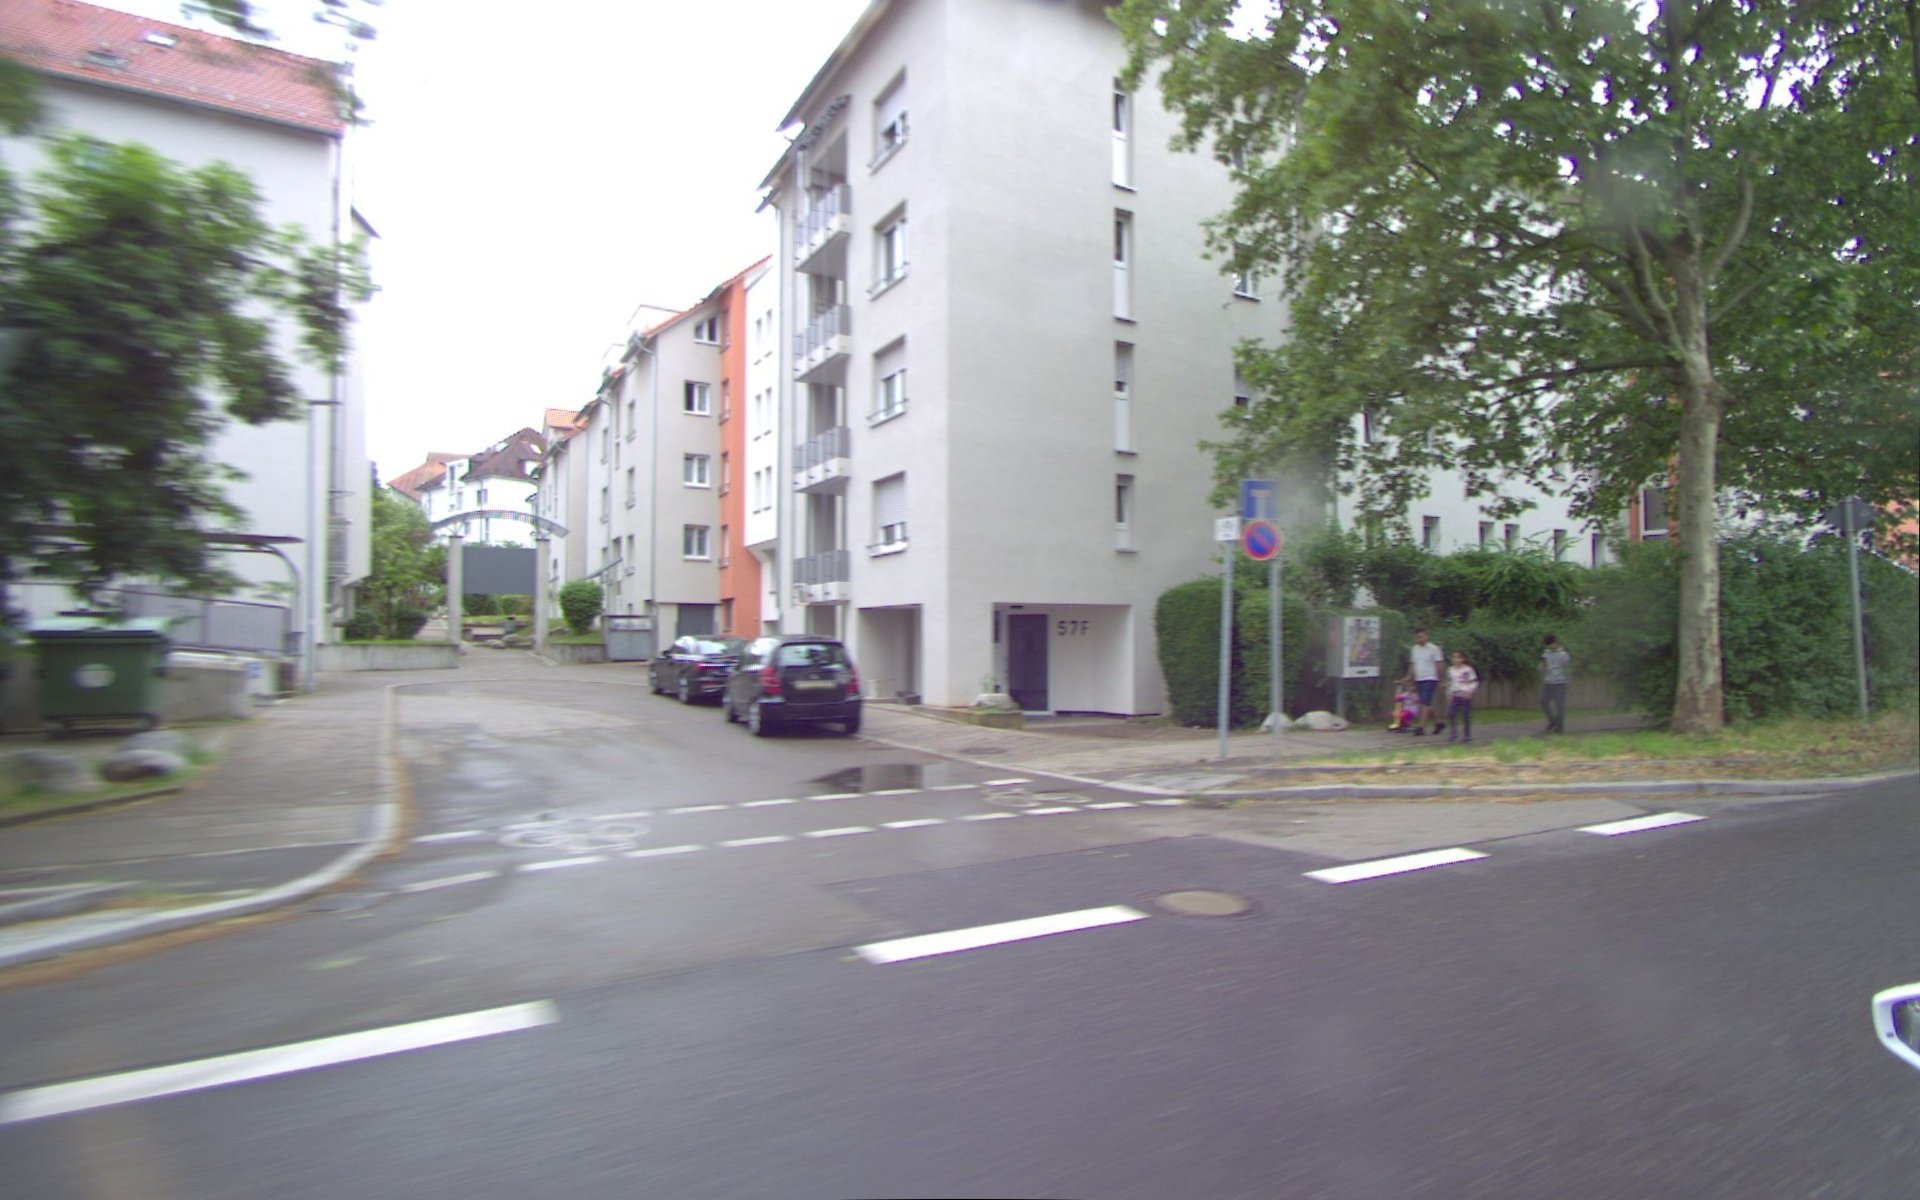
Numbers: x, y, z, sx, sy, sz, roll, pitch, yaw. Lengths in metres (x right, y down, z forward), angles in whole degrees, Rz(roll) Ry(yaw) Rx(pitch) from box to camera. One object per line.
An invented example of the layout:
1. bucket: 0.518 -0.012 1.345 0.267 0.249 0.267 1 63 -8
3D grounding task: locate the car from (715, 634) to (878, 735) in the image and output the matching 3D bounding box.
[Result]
1. car: -2.932 1.351 17.319 1.880 1.496 3.978 1 -2 -23

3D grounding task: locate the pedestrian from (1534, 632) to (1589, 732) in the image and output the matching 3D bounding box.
1. pedestrian: 10.230 1.376 17.087 0.584 1.652 0.592 1 -2 -32

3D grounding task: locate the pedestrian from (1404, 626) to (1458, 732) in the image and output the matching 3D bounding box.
1. pedestrian: 7.540 1.255 16.098 0.584 1.652 0.537 1 -2 -32

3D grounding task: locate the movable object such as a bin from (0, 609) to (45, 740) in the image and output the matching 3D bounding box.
1. movable object such as a bin: -11.839 0.866 11.882 1.286 1.434 1.155 1 3 -31

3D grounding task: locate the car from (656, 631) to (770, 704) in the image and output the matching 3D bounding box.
1. car: -5.676 1.451 22.744 1.880 1.496 3.978 1 -2 -23

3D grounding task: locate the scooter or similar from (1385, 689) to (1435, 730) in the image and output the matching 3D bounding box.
1. scooter or similar: 7.487 1.808 16.688 1.050 0.603 0.368 2 -3 -43

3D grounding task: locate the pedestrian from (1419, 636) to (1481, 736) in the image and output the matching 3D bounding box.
1. pedestrian: 7.203 1.245 14.766 0.584 1.415 0.592 1 -2 -32

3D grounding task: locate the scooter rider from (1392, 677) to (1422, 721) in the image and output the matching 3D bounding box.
1. scooter rider: 7.384 1.636 16.585 0.391 0.693 0.325 2 -3 -43

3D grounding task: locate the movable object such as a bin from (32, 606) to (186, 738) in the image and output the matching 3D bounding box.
1. movable object such as a bin: -10.632 0.865 12.616 1.286 1.483 1.155 1 3 -31
